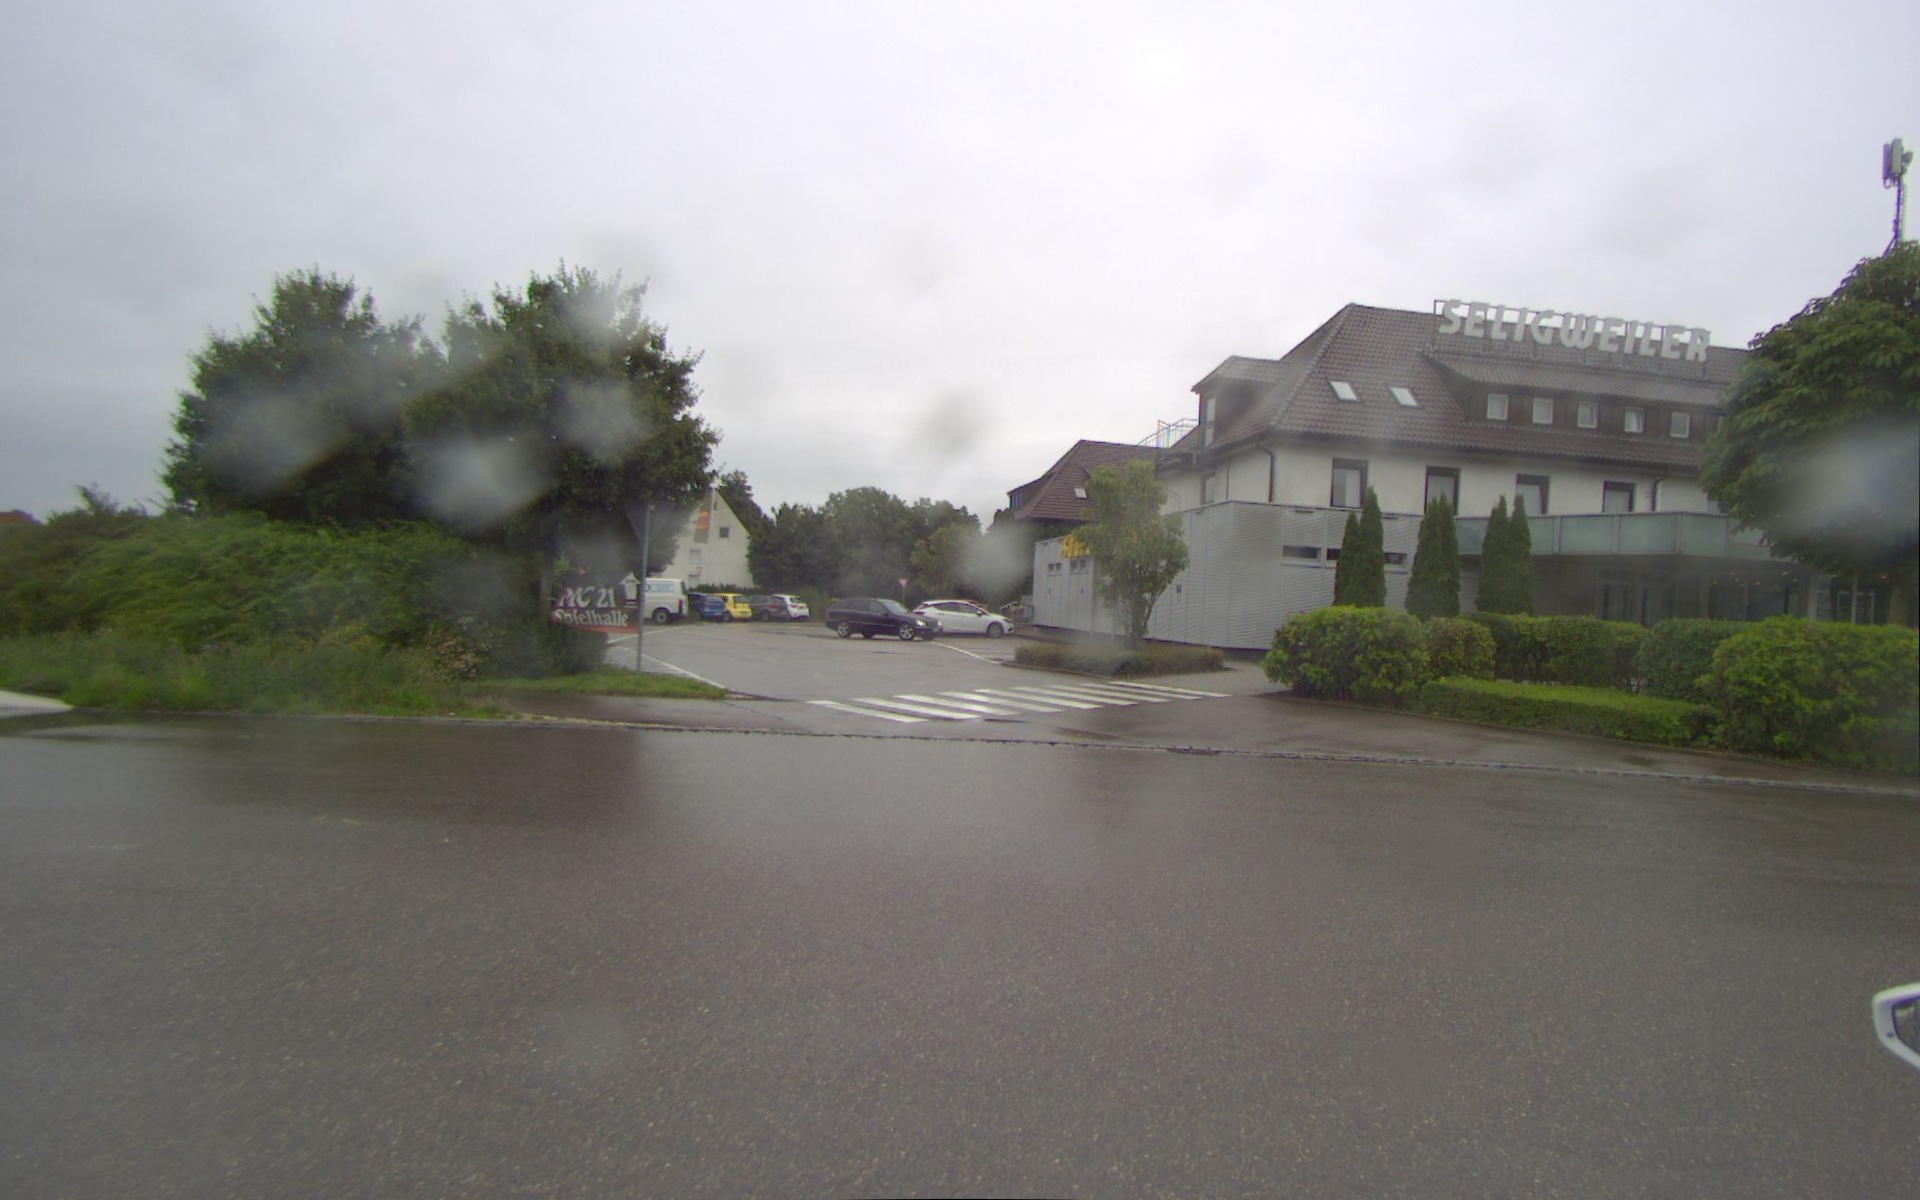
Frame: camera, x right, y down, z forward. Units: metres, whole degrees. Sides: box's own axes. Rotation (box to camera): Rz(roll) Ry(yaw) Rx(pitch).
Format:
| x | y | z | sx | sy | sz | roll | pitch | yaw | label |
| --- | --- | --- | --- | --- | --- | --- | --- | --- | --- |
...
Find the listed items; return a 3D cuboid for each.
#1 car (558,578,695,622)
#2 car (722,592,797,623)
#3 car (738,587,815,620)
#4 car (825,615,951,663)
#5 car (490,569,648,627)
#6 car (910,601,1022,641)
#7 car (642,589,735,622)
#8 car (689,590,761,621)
| x | y | z | sx | sy | sz | roll | pitch | yaw | label |
| --- | --- | --- | --- | --- | --- | --- | --- | --- | --- |
| -14.181 | 0.026 | 43.011 | 5.280 | 1.744 | 1.997 | 1 | -1 | -10 | car |
| -11.012 | 0.385 | 55.046 | 3.820 | 1.590 | 1.746 | 1 | -1 | 31 | car |
| -10.485 | 0.216 | 57.306 | 3.928 | 1.751 | 1.987 | 1 | -1 | 30 | car |
| -2.617 | 1.357 | 35.923 | 4.284 | 1.444 | 1.702 | 2 | 0 | 32 | car |
| -12.910 | -0.049 | 33.410 | 4.526 | 1.744 | 1.997 | 1 | -1 | -10 | car |
| 0.204 | 0.849 | 41.133 | 4.283 | 1.444 | 1.847 | 2 | -1 | -11 | car |
| -13.724 | 0.281 | 50.743 | 4.569 | 1.571 | 1.995 | 1 | -1 | 34 | car |
| -12.421 | 0.291 | 53.053 | 3.666 | 1.569 | 1.661 | 1 | -1 | 36 | car |
